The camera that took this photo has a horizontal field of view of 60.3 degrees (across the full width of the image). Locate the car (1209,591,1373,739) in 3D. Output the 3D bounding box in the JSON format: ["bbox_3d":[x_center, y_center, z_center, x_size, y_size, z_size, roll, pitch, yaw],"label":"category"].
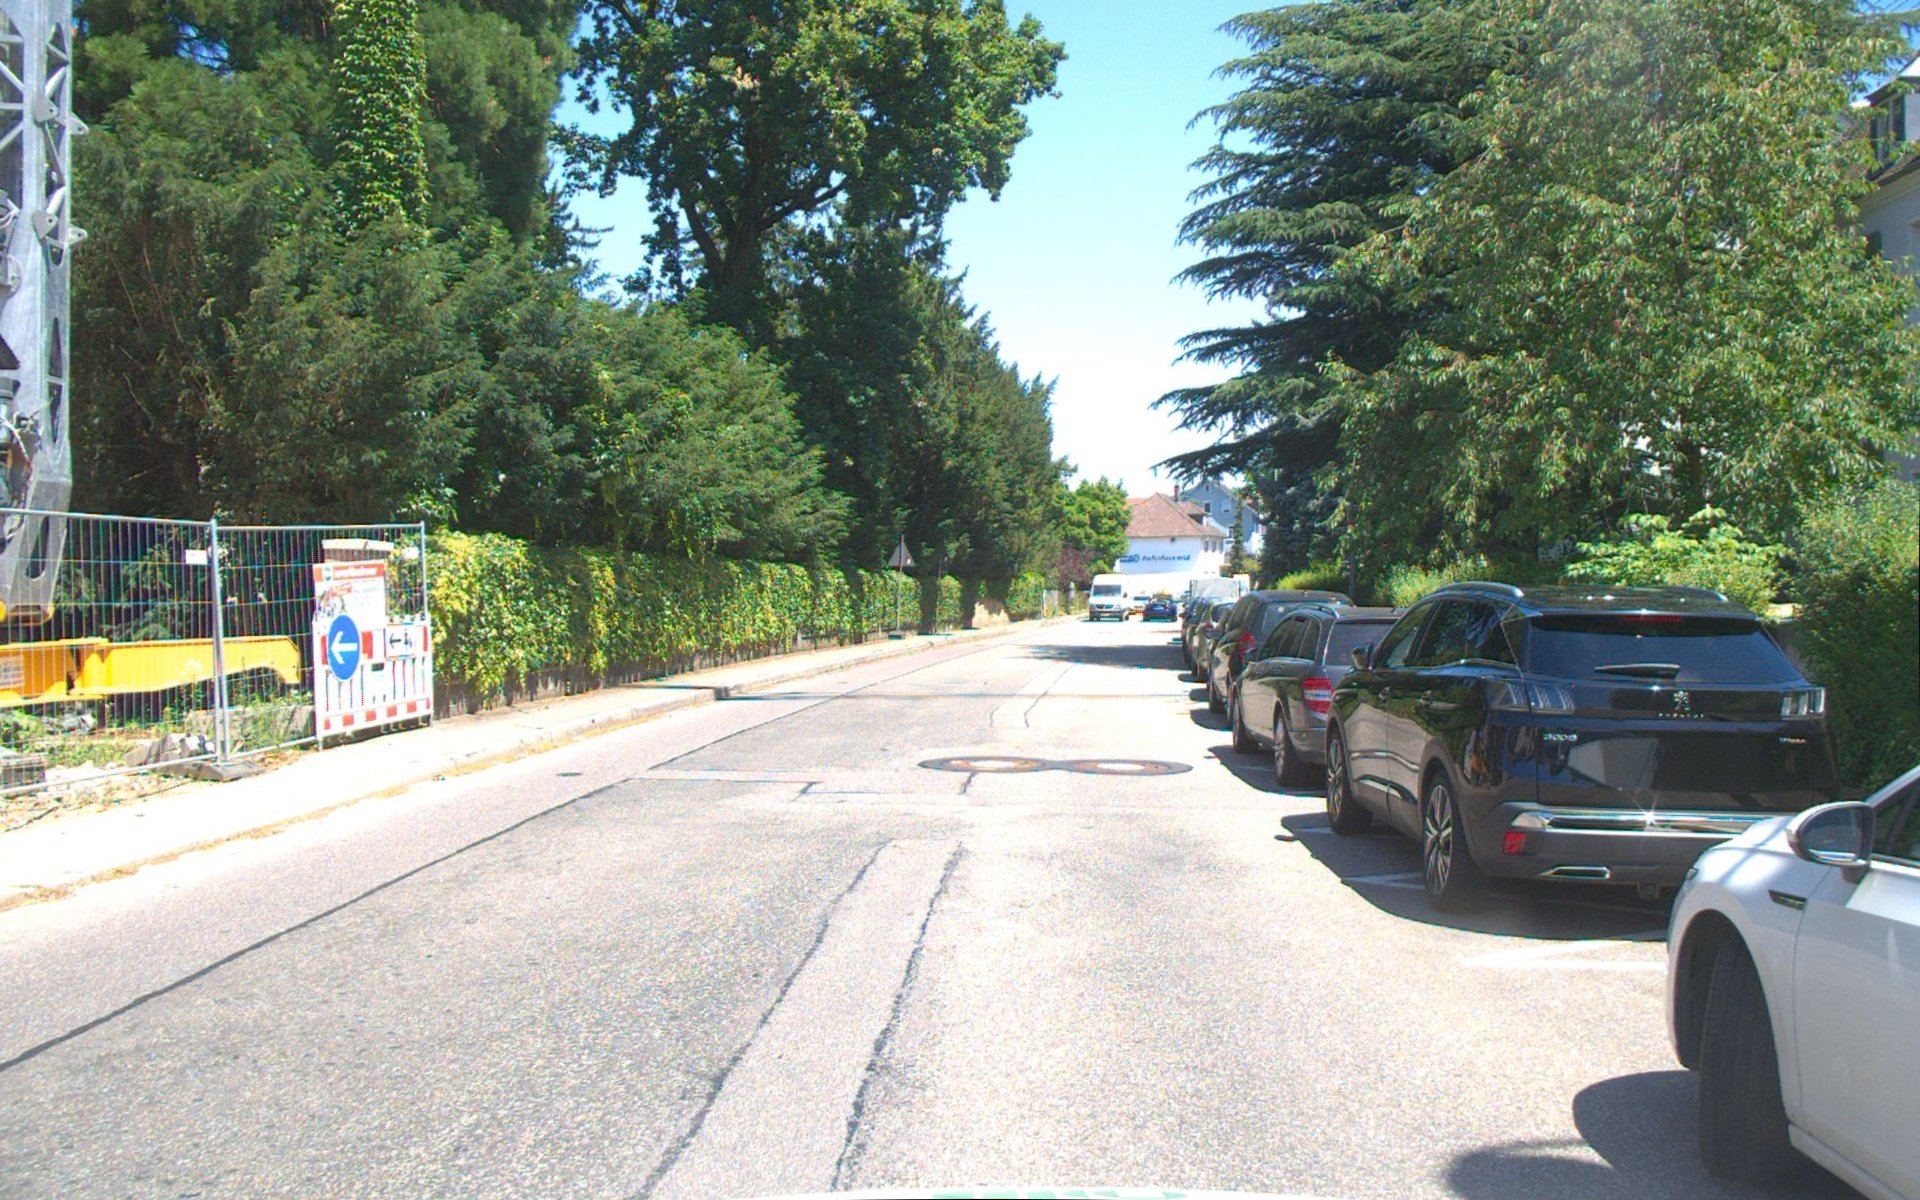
[{"bbox_3d":[3.965,0.703,20.324,1.548,1.603,4.011,0,1,5],"label":"car"}]

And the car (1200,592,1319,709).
[{"bbox_3d":[4.504,0.702,25.282,1.548,1.468,4.012,3,2,8],"label":"car"}]

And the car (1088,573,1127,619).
[{"bbox_3d":[8.531,-0.226,95.228,1.951,2.577,5.899,0,0,8],"label":"car"}]

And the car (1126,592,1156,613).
[{"bbox_3d":[13.057,0.189,119.161,1.824,1.407,4.609,0,1,11],"label":"car"}]

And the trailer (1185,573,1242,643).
[{"bbox_3d":[7.982,0.226,52.276,1.644,2.104,3.711,1,1,7],"label":"trailer"}]

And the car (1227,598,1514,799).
[{"bbox_3d":[3.440,0.743,14.610,1.627,1.457,4.205,0,1,2],"label":"car"}]

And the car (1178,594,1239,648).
[{"bbox_3d":[6.946,0.555,46.496,1.580,1.420,4.262,1,0,8],"label":"car"}]

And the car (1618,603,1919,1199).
[{"bbox_3d":[2.772,0.768,2.986,1.627,1.460,4.130,2,0,2],"label":"car"}]

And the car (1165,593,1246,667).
[{"bbox_3d":[5.202,0.612,35.366,1.580,1.476,4.378,-1,0,7],"label":"car"}]

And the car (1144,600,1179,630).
[{"bbox_3d":[11.299,0.813,92.573,1.756,1.536,4.004,2,1,10],"label":"car"}]

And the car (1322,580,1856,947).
[{"bbox_3d":[3.195,0.709,9.311,1.627,1.565,4.205,1,0,4],"label":"car"}]

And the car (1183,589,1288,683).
[{"bbox_3d":[5.013,0.618,30.497,1.580,1.539,4.067,3,0,5],"label":"car"}]
